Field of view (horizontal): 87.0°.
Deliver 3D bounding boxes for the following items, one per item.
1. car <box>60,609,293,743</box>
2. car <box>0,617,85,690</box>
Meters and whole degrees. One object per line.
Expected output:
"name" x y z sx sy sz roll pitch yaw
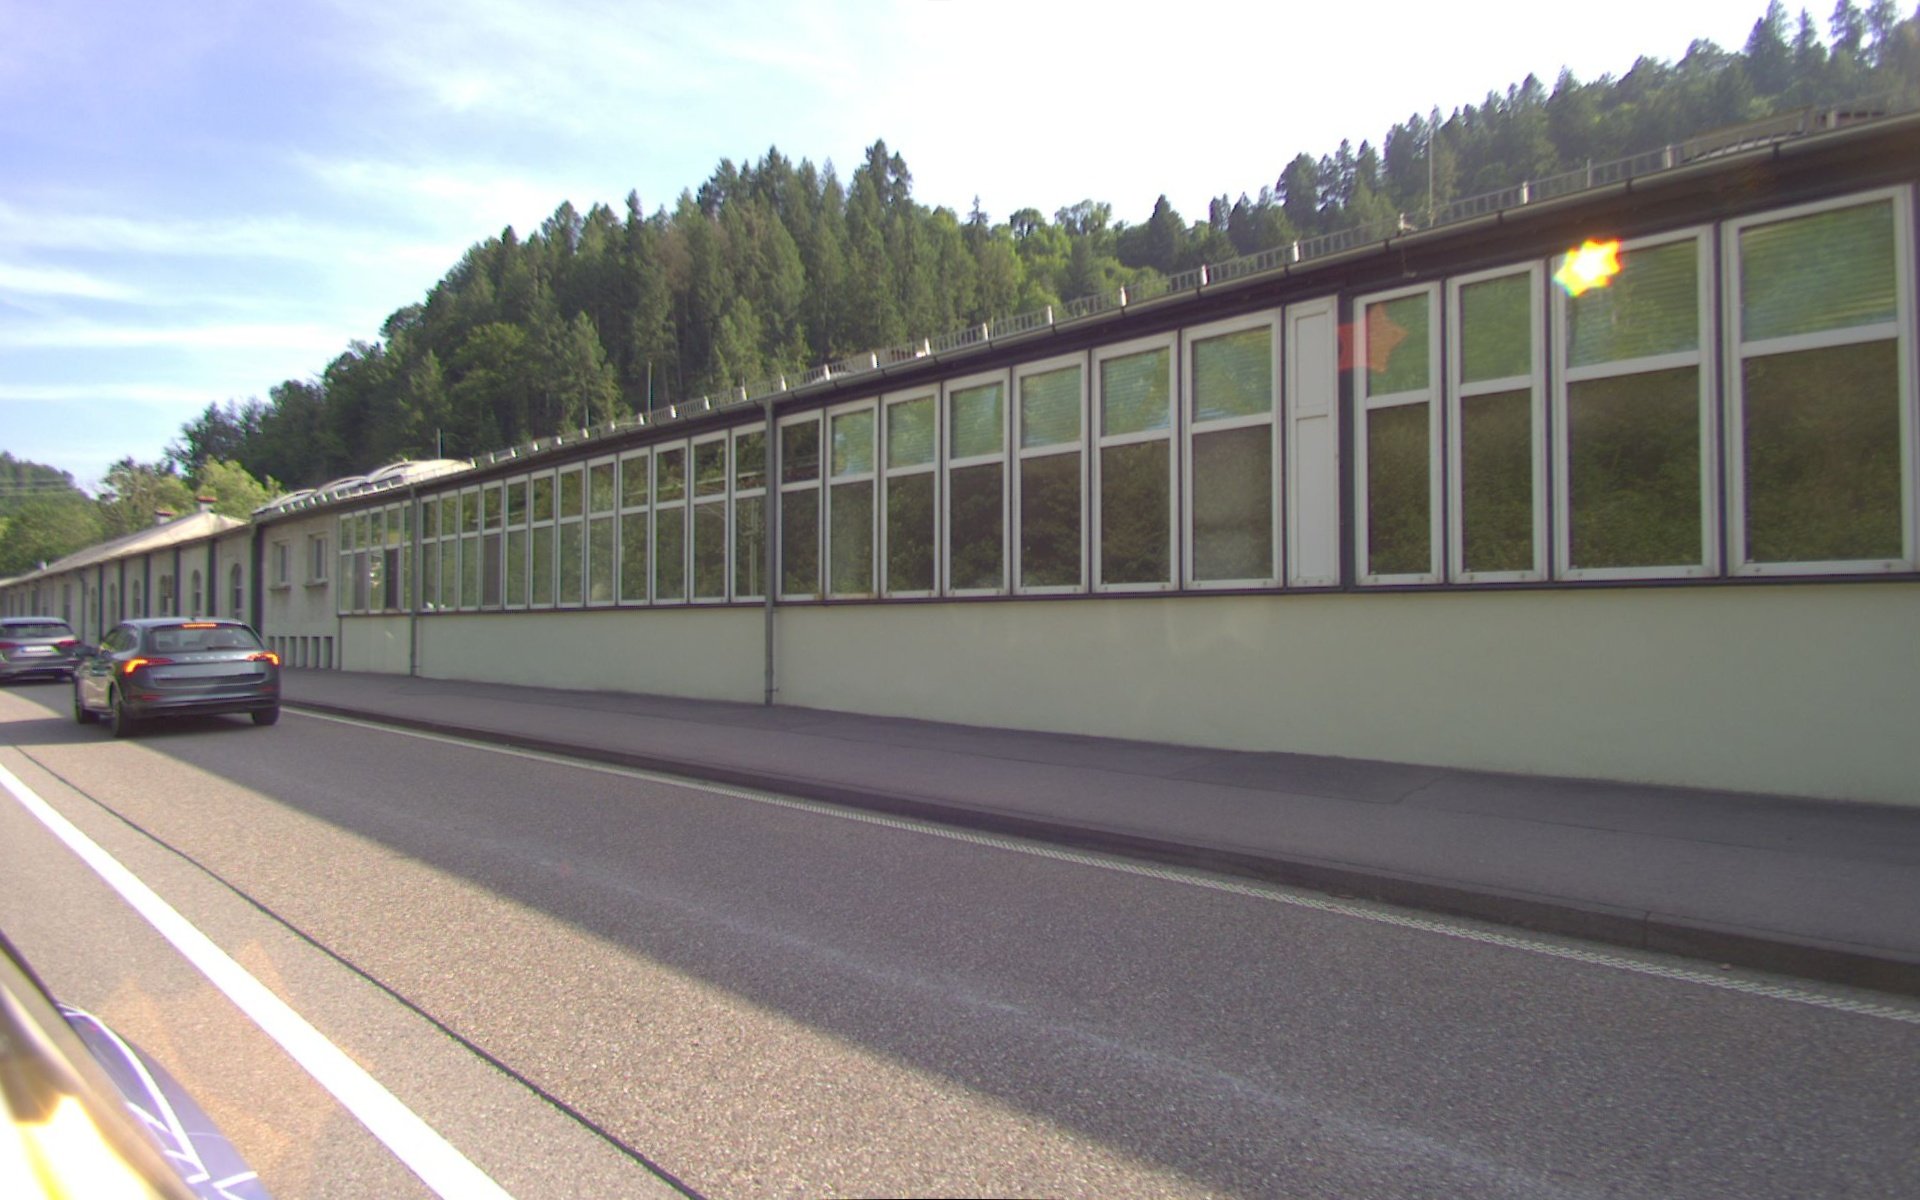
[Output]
"car" -10.705 0.926 13.721 4.050 1.502 1.755 -2 0 41
"car" -21.931 1.211 23.638 4.196 1.526 1.701 -2 0 41
